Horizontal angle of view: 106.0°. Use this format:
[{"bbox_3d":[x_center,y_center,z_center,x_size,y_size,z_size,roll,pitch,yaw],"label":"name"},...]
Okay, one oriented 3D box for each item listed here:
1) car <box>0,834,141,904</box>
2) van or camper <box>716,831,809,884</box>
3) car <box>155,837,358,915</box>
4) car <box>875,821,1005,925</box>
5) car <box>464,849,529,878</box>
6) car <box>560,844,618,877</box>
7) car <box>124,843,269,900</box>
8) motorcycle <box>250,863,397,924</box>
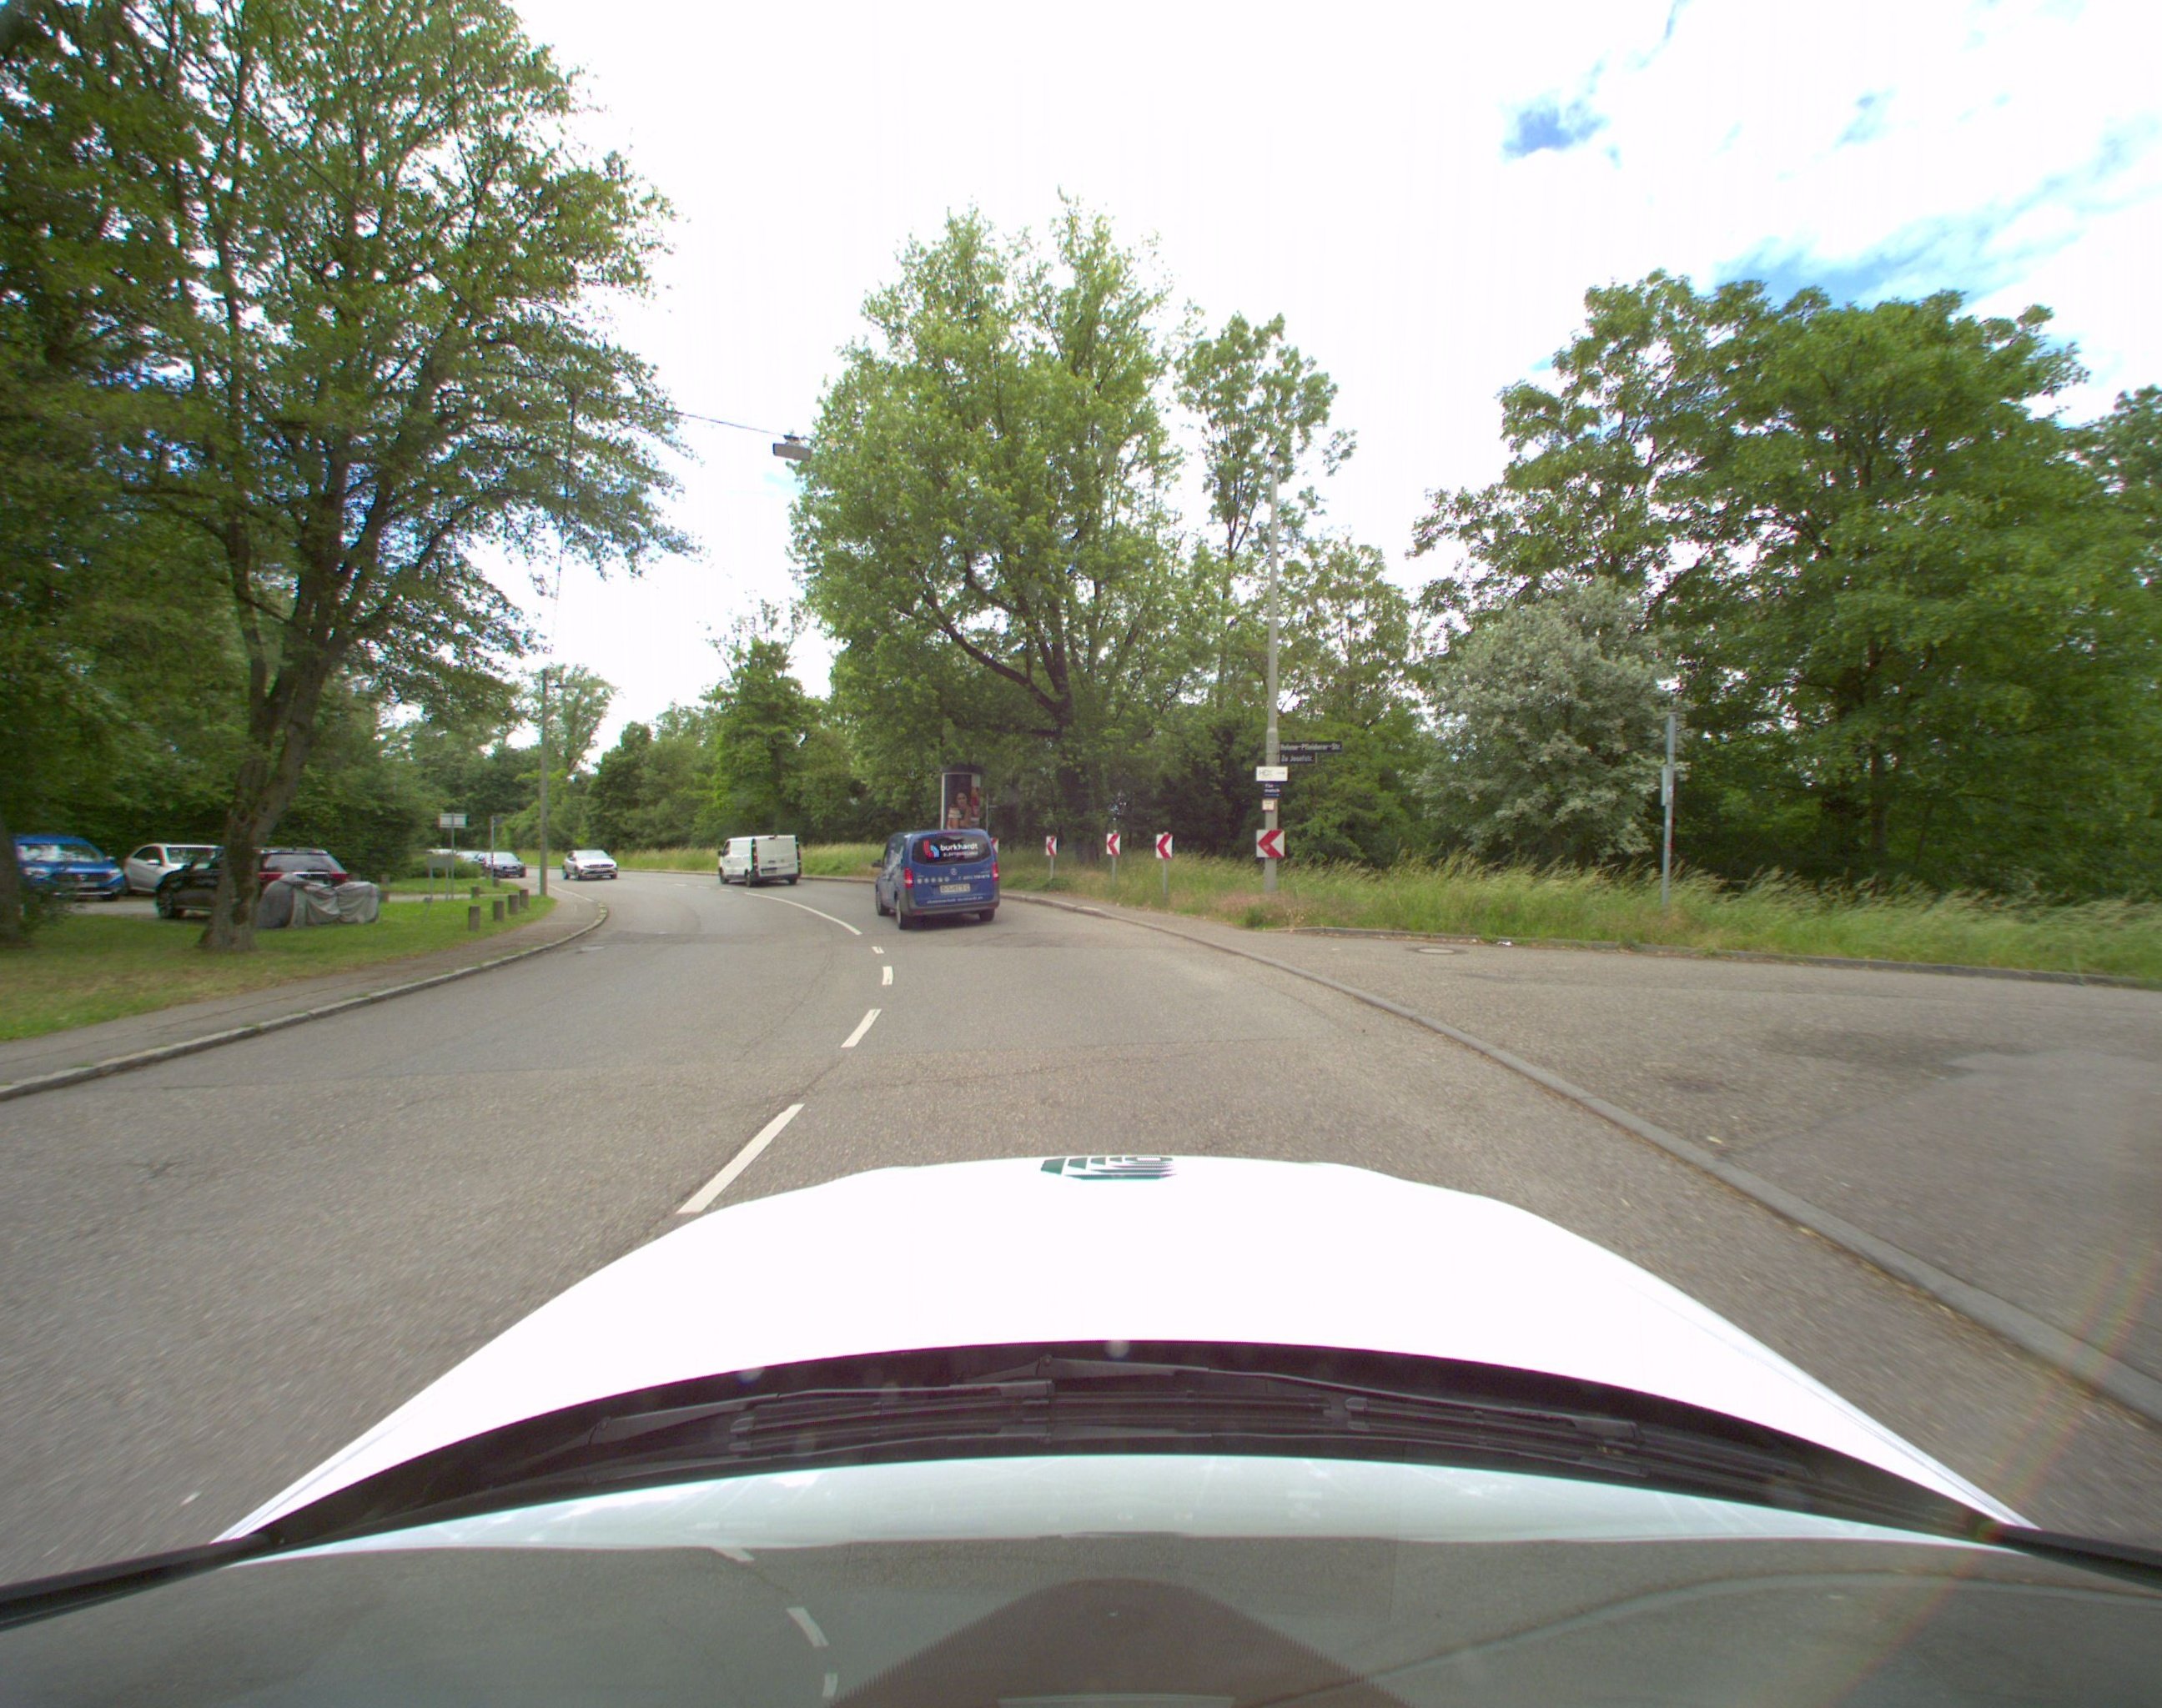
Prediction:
[{"bbox_3d":[-27.913,0.353,22.051,4.215,1.732,1.756,1,1,19],"label":"car"},{"bbox_3d":[-12.867,0.068,32.714,2.036,1.956,4.839,-2,2,-40],"label":"van or camper"},{"bbox_3d":[-18.624,0.439,18.387,4.281,1.594,1.757,0,1,23],"label":"car"},{"bbox_3d":[-3.097,0.294,17.122,1.920,1.837,4.265,-2,2,-20],"label":"car"},{"bbox_3d":[-32.018,0.493,44.577,4.446,1.418,1.752,0,2,39],"label":"car"},{"bbox_3d":[-24.787,0.334,40.992,1.740,1.456,4.030,-6,4,-41],"label":"car"},{"bbox_3d":[-26.607,0.477,24.481,4.219,1.594,1.757,0,1,25],"label":"car"},{"bbox_3d":[-15.875,0.793,17.138,0.854,1.151,2.078,0,1,24],"label":"motorcycle"}]
